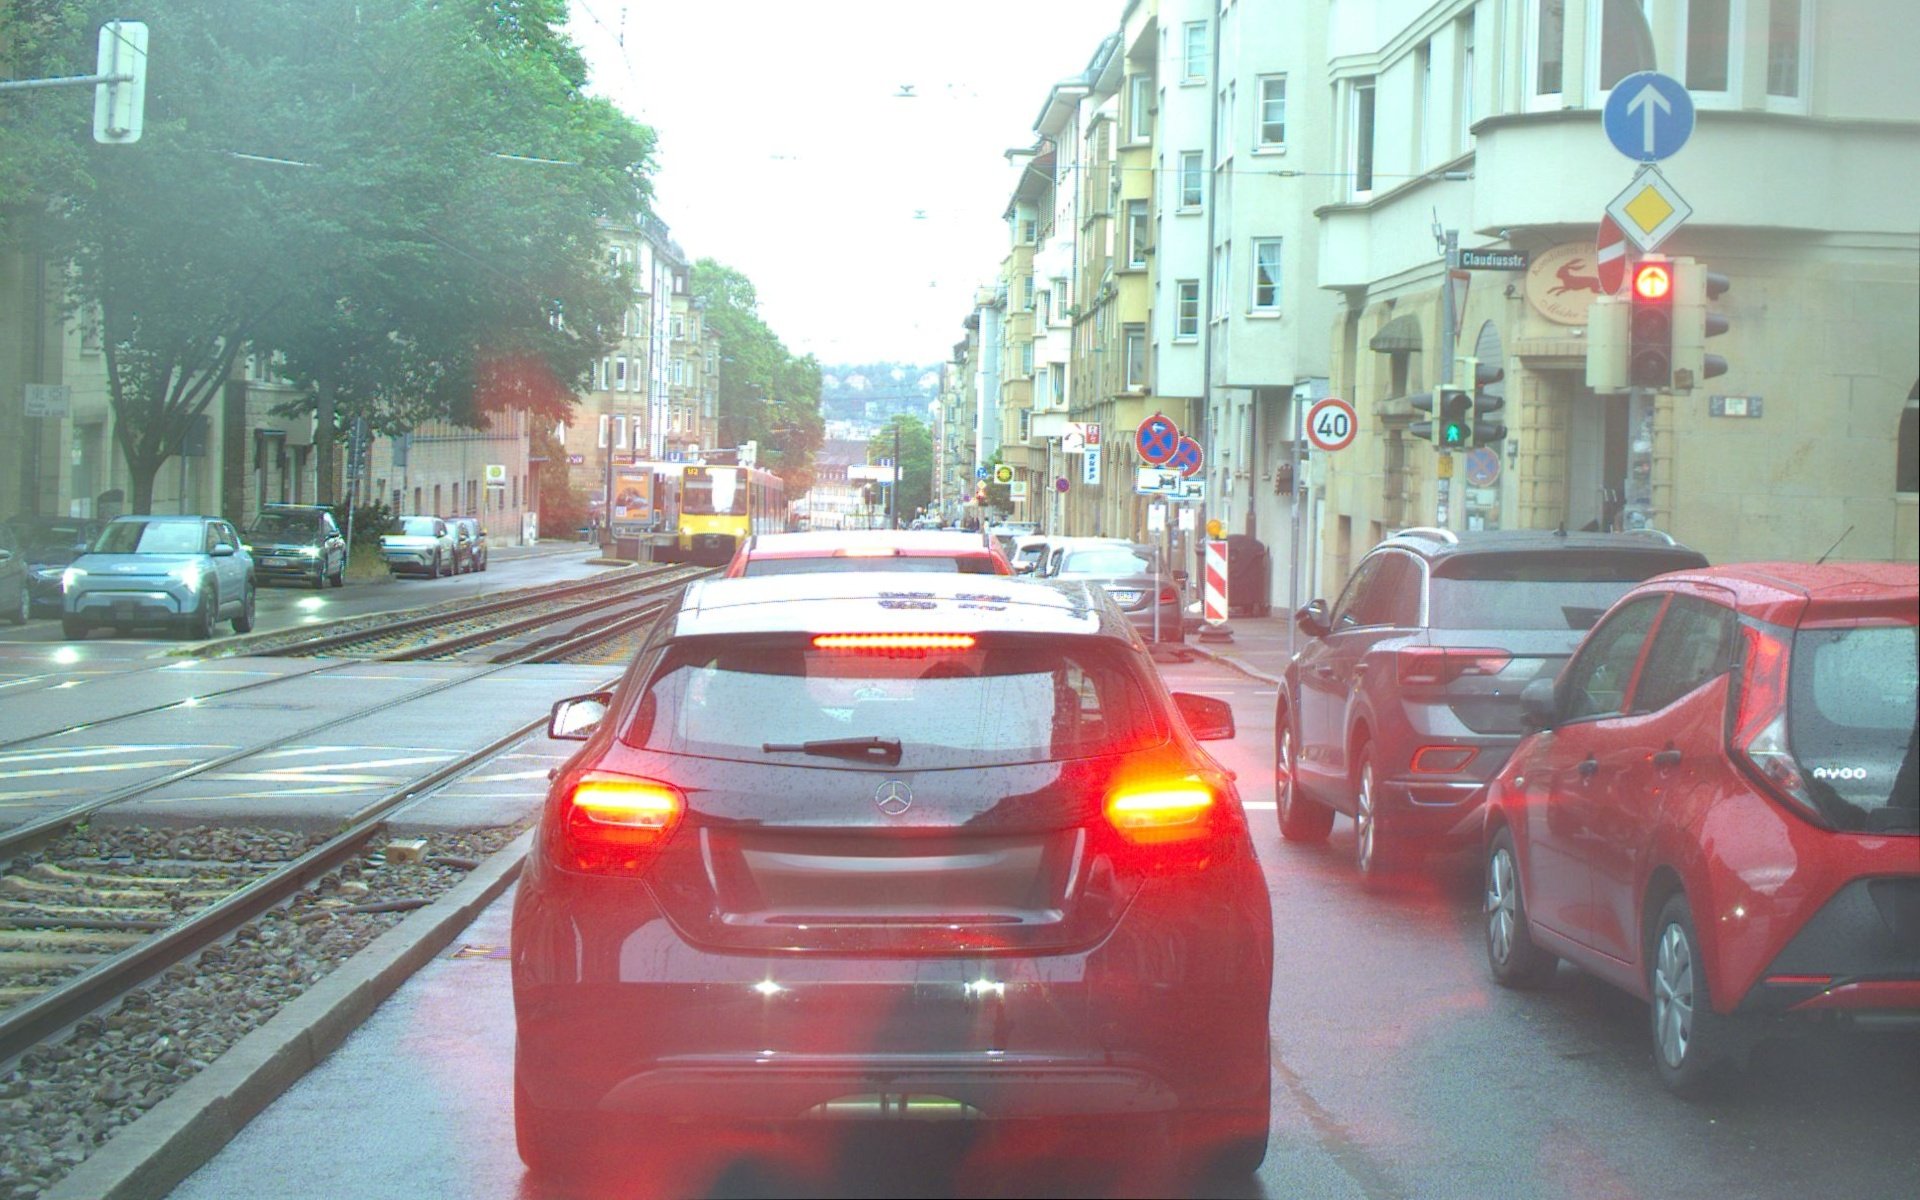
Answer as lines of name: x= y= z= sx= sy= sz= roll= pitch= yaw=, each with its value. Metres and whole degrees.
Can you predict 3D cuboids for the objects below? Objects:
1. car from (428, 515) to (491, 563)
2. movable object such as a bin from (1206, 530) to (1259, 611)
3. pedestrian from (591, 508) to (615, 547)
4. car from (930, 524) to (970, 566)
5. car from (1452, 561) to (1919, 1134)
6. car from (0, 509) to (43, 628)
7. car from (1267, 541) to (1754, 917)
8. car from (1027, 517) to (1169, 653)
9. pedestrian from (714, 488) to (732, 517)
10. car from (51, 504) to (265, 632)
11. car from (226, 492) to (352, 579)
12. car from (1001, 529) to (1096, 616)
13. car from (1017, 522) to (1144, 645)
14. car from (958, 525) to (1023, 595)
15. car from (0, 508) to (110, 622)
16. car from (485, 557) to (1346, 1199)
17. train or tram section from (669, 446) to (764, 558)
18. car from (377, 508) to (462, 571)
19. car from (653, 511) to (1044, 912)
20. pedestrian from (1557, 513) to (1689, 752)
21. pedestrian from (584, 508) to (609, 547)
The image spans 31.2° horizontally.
car: x=-14.336 y=-1.735 z=98.574 sx=1.448 sy=1.326 sz=3.272 roll=1 pitch=0 yaw=-2
movable object such as a bin: x=4.715 y=-0.511 z=59.573 sx=0.878 sy=1.384 sz=0.982 roll=1 pitch=0 yaw=3
pedestrian: x=-18.322 y=-3.705 z=176.410 sx=1.053 sy=1.951 sz=1.043 roll=2 pitch=1 yaw=1
car: x=-0.379 y=-2.183 z=135.742 sx=1.544 sy=1.630 sz=3.686 roll=1 pitch=1 yaw=0
car: x=2.653 y=0.630 z=10.526 sx=1.642 sy=1.443 sz=3.299 roll=1 pitch=1 yaw=-3
car: x=-13.480 y=-0.430 z=45.693 sx=1.752 sy=1.547 sz=4.036 roll=1 pitch=0 yaw=-4
car: x=2.390 y=0.486 z=15.764 sx=1.544 sy=1.481 sz=3.830 roll=1 pitch=1 yaw=-1
car: x=1.671 y=-0.214 z=42.641 sx=1.544 sy=1.585 sz=3.548 roll=1 pitch=1 yaw=-1
pedestrian: x=-15.749 y=-6.489 z=228.889 sx=1.053 sy=1.951 sz=1.043 roll=2 pitch=1 yaw=1
car: x=-10.456 y=-0.414 z=45.079 sx=1.898 sy=1.582 sz=3.973 roll=1 pitch=0 yaw=-1
car: x=-13.955 y=-1.328 z=71.702 sx=1.875 sy=1.731 sz=3.918 roll=1 pitch=0 yaw=-1
car: x=1.556 y=-0.506 z=61.526 sx=1.544 sy=1.481 sz=3.548 roll=1 pitch=1 yaw=-1
car: x=1.615 y=-0.251 z=47.116 sx=1.544 sy=1.585 sz=3.548 roll=1 pitch=1 yaw=-1
car: x=0.637 y=-0.865 z=73.594 sx=1.294 sy=1.437 sz=2.929 roll=1 pitch=1 yaw=-1
car: x=-13.733 y=-0.519 z=50.723 sx=1.716 sy=1.605 sz=3.919 roll=1 pitch=0 yaw=-5
car: x=-0.122 y=0.638 z=9.458 sx=1.829 sy=1.453 sz=4.104 roll=1 pitch=1 yaw=-1
train or tram section: x=-8.783 y=-3.478 z=124.827 sx=2.783 sy=3.847 sz=10.430 roll=1 pitch=0 yaw=-1
car: x=-13.993 y=-1.547 z=89.165 sx=1.589 sy=1.575 sz=3.918 roll=1 pitch=0 yaw=-1
car: x=-0.476 y=0.435 z=15.845 sx=1.565 sy=1.604 sz=3.814 roll=1 pitch=0 yaw=-1
pedestrian: x=4.944 y=0.234 z=25.691 sx=0.741 sy=1.742 sz=1.111 roll=1 pitch=0 yaw=-1
pedestrian: x=-18.520 y=-3.696 z=175.139 sx=1.053 sy=1.951 sz=1.043 roll=2 pitch=1 yaw=1
